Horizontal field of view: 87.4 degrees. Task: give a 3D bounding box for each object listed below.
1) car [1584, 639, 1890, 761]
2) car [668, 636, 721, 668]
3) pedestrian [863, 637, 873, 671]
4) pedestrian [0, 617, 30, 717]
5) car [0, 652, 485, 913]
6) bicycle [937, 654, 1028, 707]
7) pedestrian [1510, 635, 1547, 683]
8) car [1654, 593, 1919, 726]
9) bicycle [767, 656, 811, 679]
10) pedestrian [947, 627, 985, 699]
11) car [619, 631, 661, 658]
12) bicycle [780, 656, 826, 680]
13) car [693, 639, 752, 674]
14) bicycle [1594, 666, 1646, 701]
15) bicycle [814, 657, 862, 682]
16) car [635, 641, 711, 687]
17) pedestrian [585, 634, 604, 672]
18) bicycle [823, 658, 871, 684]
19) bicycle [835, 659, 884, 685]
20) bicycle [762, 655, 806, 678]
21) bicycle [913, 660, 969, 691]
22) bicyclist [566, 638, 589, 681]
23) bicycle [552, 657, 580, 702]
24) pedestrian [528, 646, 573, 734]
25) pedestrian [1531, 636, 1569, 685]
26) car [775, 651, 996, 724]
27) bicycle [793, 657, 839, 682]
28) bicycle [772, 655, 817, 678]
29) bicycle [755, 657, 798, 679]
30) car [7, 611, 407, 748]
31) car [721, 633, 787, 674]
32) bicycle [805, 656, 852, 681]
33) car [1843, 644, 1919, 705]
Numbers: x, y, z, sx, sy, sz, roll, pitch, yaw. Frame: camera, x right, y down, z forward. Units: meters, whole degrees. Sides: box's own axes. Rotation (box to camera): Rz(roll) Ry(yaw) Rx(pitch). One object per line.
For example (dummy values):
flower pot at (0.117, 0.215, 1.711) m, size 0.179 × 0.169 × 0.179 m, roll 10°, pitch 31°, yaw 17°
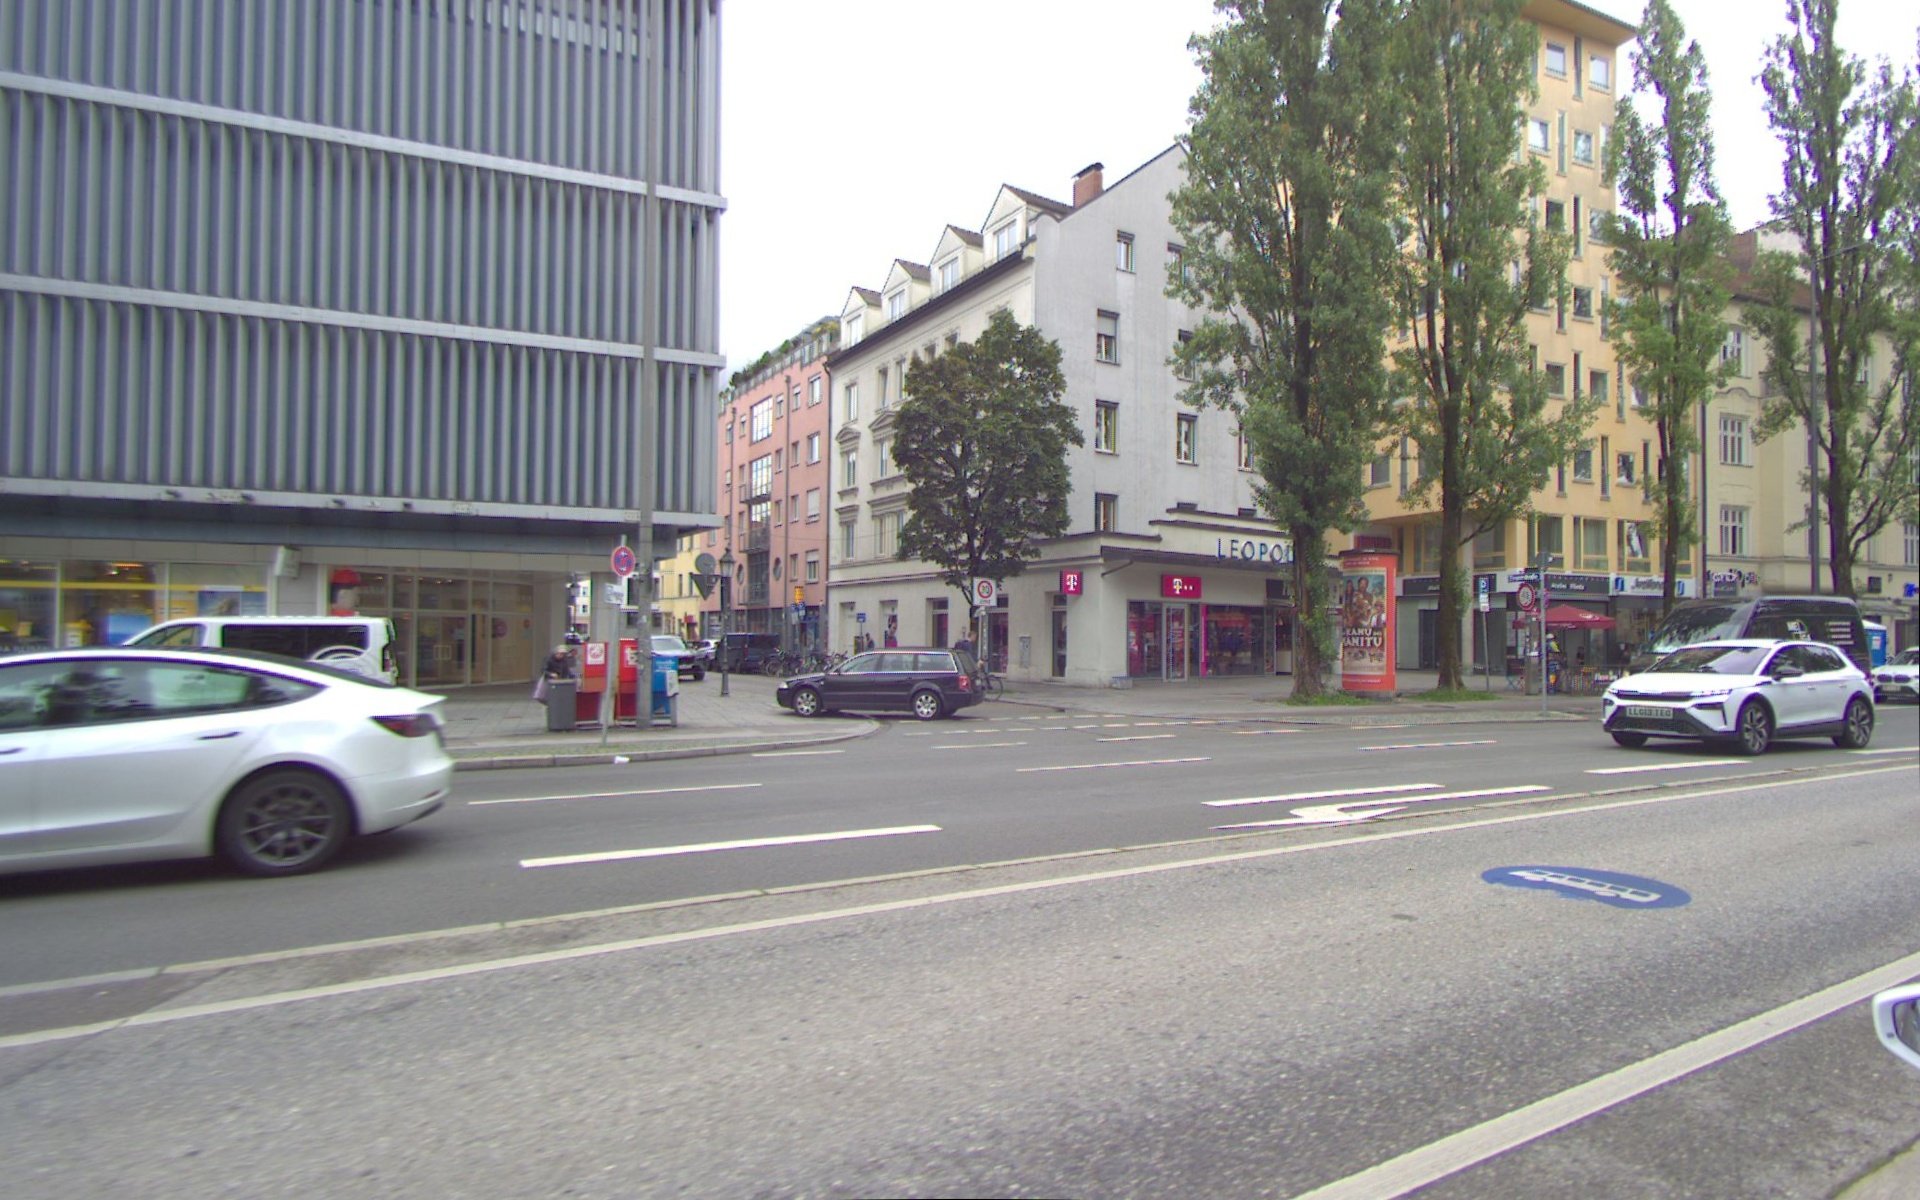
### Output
car at (11.764, 1.419, 15.206) m, size 4.295 × 1.624 × 1.905 m, roll 1°, pitch -2°, yaw -25°
car at (-15.313, 2.947, 57.775) m, size 1.976 × 1.752 × 4.206 m, roll 1°, pitch -2°, yaw -29°
pedestrian at (-4.153, 2.422, 45.357) m, size 0.346 × 1.533 × 0.308 m, roll 1°, pitch -2°, yaw -31°
pedestrian at (-18.273, 1.244, 18.850) m, size 0.892 × 1.859 × 0.860 m, roll 1°, pitch -2°, yaw -23°
car at (-5.643, 1.052, 6.378) m, size 4.634 × 1.412 × 1.791 m, roll 2°, pitch -3°, yaw -30°
bicycle at (0.586, 2.106, 26.543) m, size 2.269 × 1.325 × 0.845 m, roll 1°, pitch -3°, yaw -21°
pedestrian at (20.234, 2.102, 35.778) m, size 0.753 × 1.647 × 0.837 m, roll 2°, pitch -1°, yaw -24°
car at (18.357, 1.280, 22.082) m, size 5.975 × 2.639 × 2.166 m, roll 1°, pitch -2°, yaw -22°
bicycle at (-7.445, 2.920, 43.860) m, size 1.858 × 0.976 × 0.456 m, roll 1°, pitch -2°, yaw -29°
pedestrian at (0.166, 1.697, 27.356) m, size 0.820 × 1.923 × 0.857 m, roll 1°, pitch -2°, yaw -19°
car at (-22.440, 3.125, 70.357) m, size 1.976 × 1.843 × 4.206 m, roll 1°, pitch -2°, yaw -29°
bicycle at (-6.655, 2.889, 42.646) m, size 1.858 × 0.976 × 0.456 m, roll 1°, pitch -2°, yaw -29°
car at (-12.524, 2.912, 52.836) m, size 1.976 × 1.752 × 4.206 m, roll 1°, pitch -2°, yaw -29°
bicycle at (19.433, 2.441, 29.567) m, size 1.858 × 0.976 × 0.456 m, roll 1°, pitch -2°, yaw -29°
bicycle at (-4.884, 2.768, 40.209) m, size 1.858 × 0.976 × 0.456 m, roll 1°, pitch -2°, yaw -29°
car at (-11.386, 2.466, 39.721) m, size 1.976 × 1.683 × 4.206 m, roll 1°, pitch -2°, yaw -29°
pedestrian at (-14.957, 2.171, 41.054) m, size 0.607 × 1.525 × 0.560 m, roll 1°, pitch -2°, yaw -33°
bicycle at (-4.414, 2.765, 39.346) m, size 1.858 × 0.976 × 0.456 m, roll 1°, pitch -2°, yaw -29°
bicycle at (-3.834, 2.739, 38.349) m, size 1.858 × 0.976 × 0.456 m, roll 1°, pitch -2°, yaw -29°
bicycle at (-7.755, 2.920, 44.364) m, size 1.858 × 0.976 × 0.456 m, roll 1°, pitch -2°, yaw -29°
bicycle at (-0.632, 2.476, 33.125) m, size 1.858 × 0.976 × 0.456 m, roll 1°, pitch -2°, yaw -29°
bicyclist at (-15.375, 2.376, 40.350) m, size 0.709 × 1.694 × 0.747 m, roll 2°, pitch -2°, yaw -33°
bicycle at (-10.156, 2.017, 25.882) m, size 0.548 × 1.097 × 1.816 m, roll 1°, pitch -3°, yaw -25°
pedestrian at (-7.246, 1.580, 17.782) m, size 0.648 × 1.514 × 0.542 m, roll 1°, pitch -2°, yaw -30°
pedestrian at (20.483, 2.092, 34.889) m, size 0.753 × 1.647 × 0.837 m, roll 2°, pitch -1°, yaw -24°
car at (-1.573, 1.850, 21.809) m, size 4.416 × 1.458 × 1.930 m, roll -1°, pitch -3°, yaw 13°
bicycle at (-5.916, 2.854, 41.374) m, size 1.858 × 0.976 × 0.456 m, roll 1°, pitch -2°, yaw -29°
bicycle at (-7.144, 2.873, 43.359) m, size 1.858 × 0.976 × 0.456 m, roll 1°, pitch -2°, yaw -29°
bicycle at (-8.226, 3.048, 45.101) m, size 1.858 × 0.976 × 0.456 m, roll 1°, pitch -2°, yaw -29°
car at (-12.348, 1.266, 17.006) m, size 5.043 × 2.040 × 1.988 m, roll 1°, pitch -2°, yaw -25°
car at (-10.051, 2.540, 48.716) m, size 1.976 × 1.888 × 4.206 m, roll 1°, pitch -2°, yaw -29°
bicycle at (-5.315, 2.764, 40.695) m, size 1.858 × 0.976 × 0.456 m, roll 1°, pitch -2°, yaw -29°
car at (27.937, 2.101, 28.888) m, size 4.315 × 1.650 × 1.991 m, roll 1°, pitch -3°, yaw -21°
